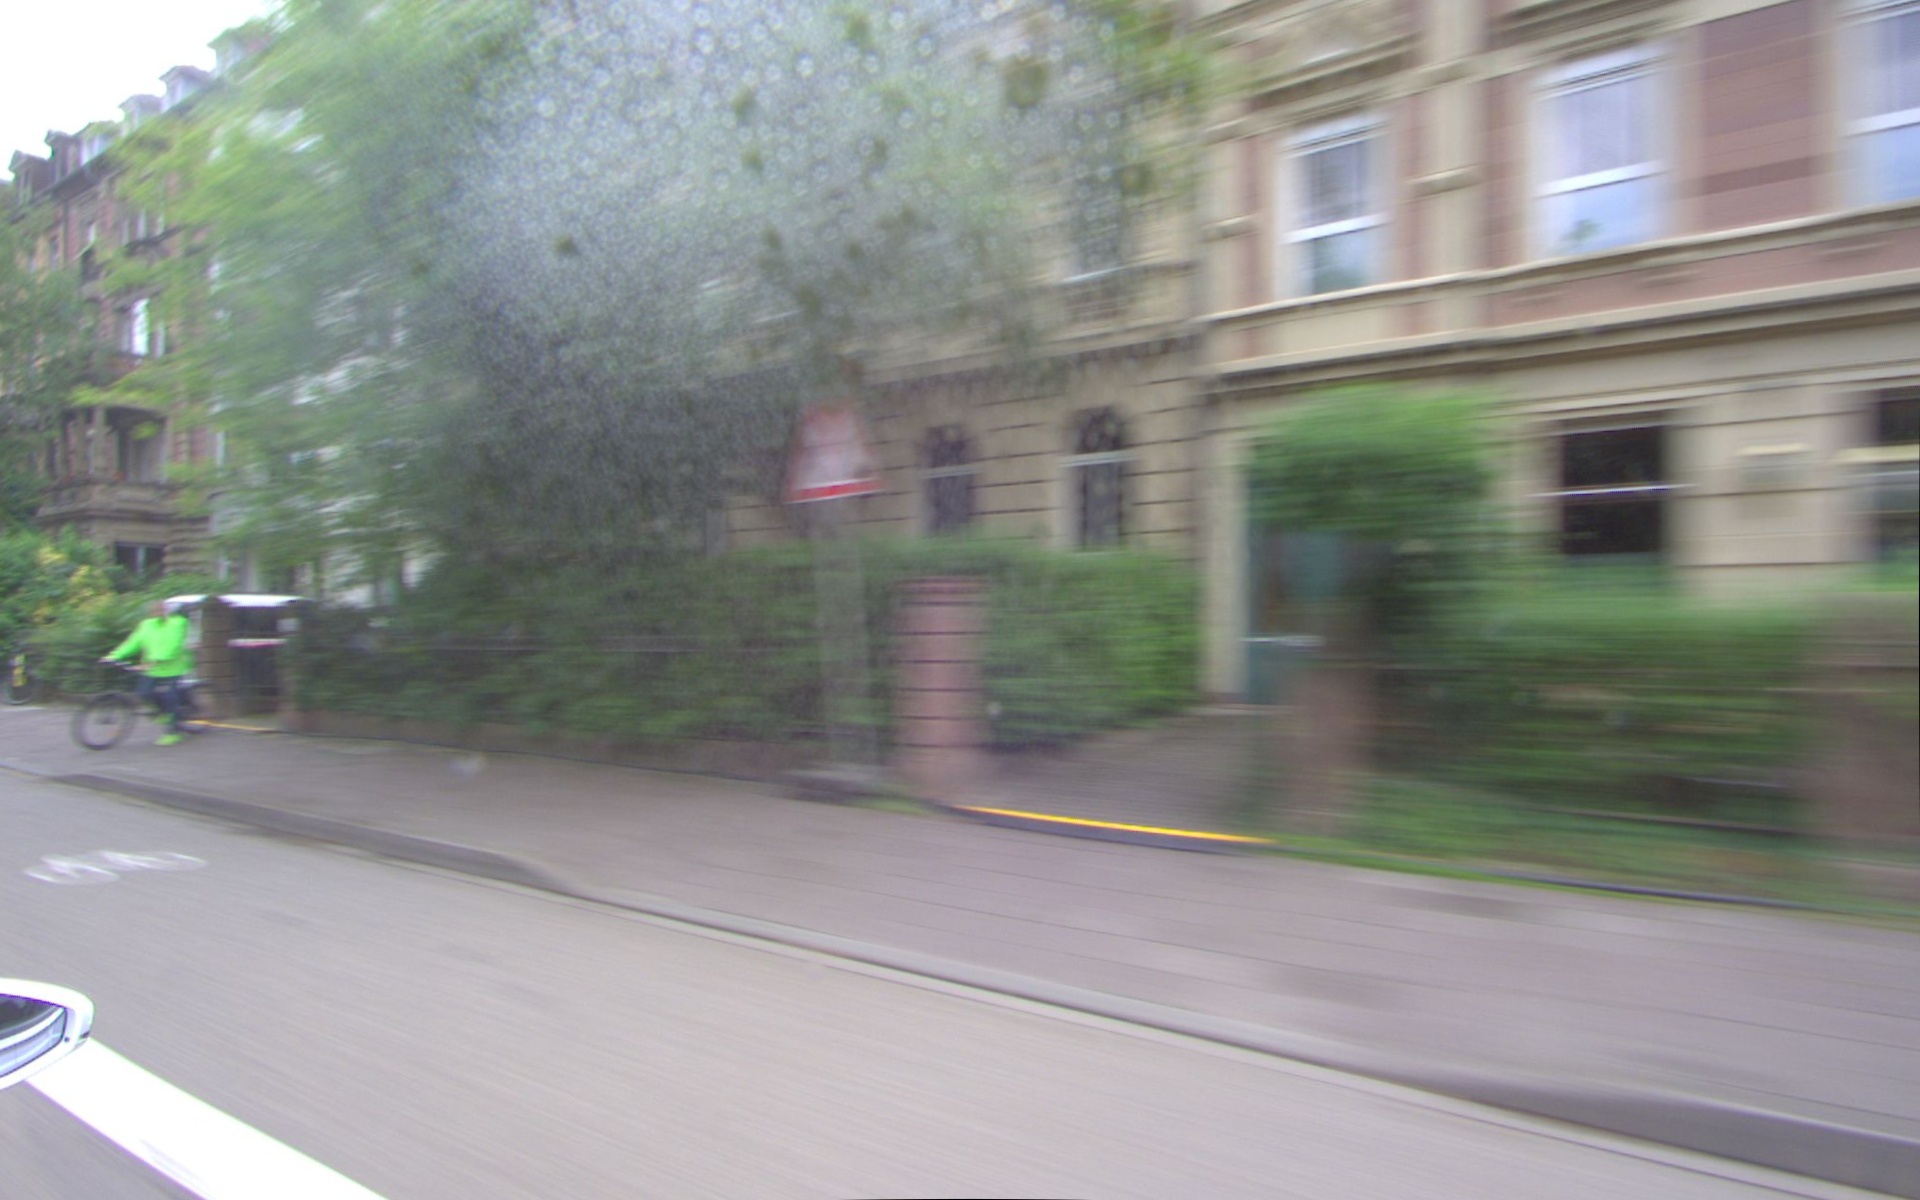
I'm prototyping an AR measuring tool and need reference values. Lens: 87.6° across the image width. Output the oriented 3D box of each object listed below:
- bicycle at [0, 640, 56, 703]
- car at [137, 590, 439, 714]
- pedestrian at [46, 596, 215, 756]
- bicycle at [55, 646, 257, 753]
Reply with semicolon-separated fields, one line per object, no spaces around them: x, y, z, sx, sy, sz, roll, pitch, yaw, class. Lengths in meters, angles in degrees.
-16.491;1.245;17.634;1.510;1.059;0.478;-1;-1;33;bicycle
-11.452;0.812;17.341;1.783;1.883;3.979;-1;-1;32;car
-9.959;0.860;12.058;1.003;1.757;1.226;0;3;31;pedestrian
-9.992;1.193;12.528;0.597;1.091;1.837;0;3;30;bicycle
